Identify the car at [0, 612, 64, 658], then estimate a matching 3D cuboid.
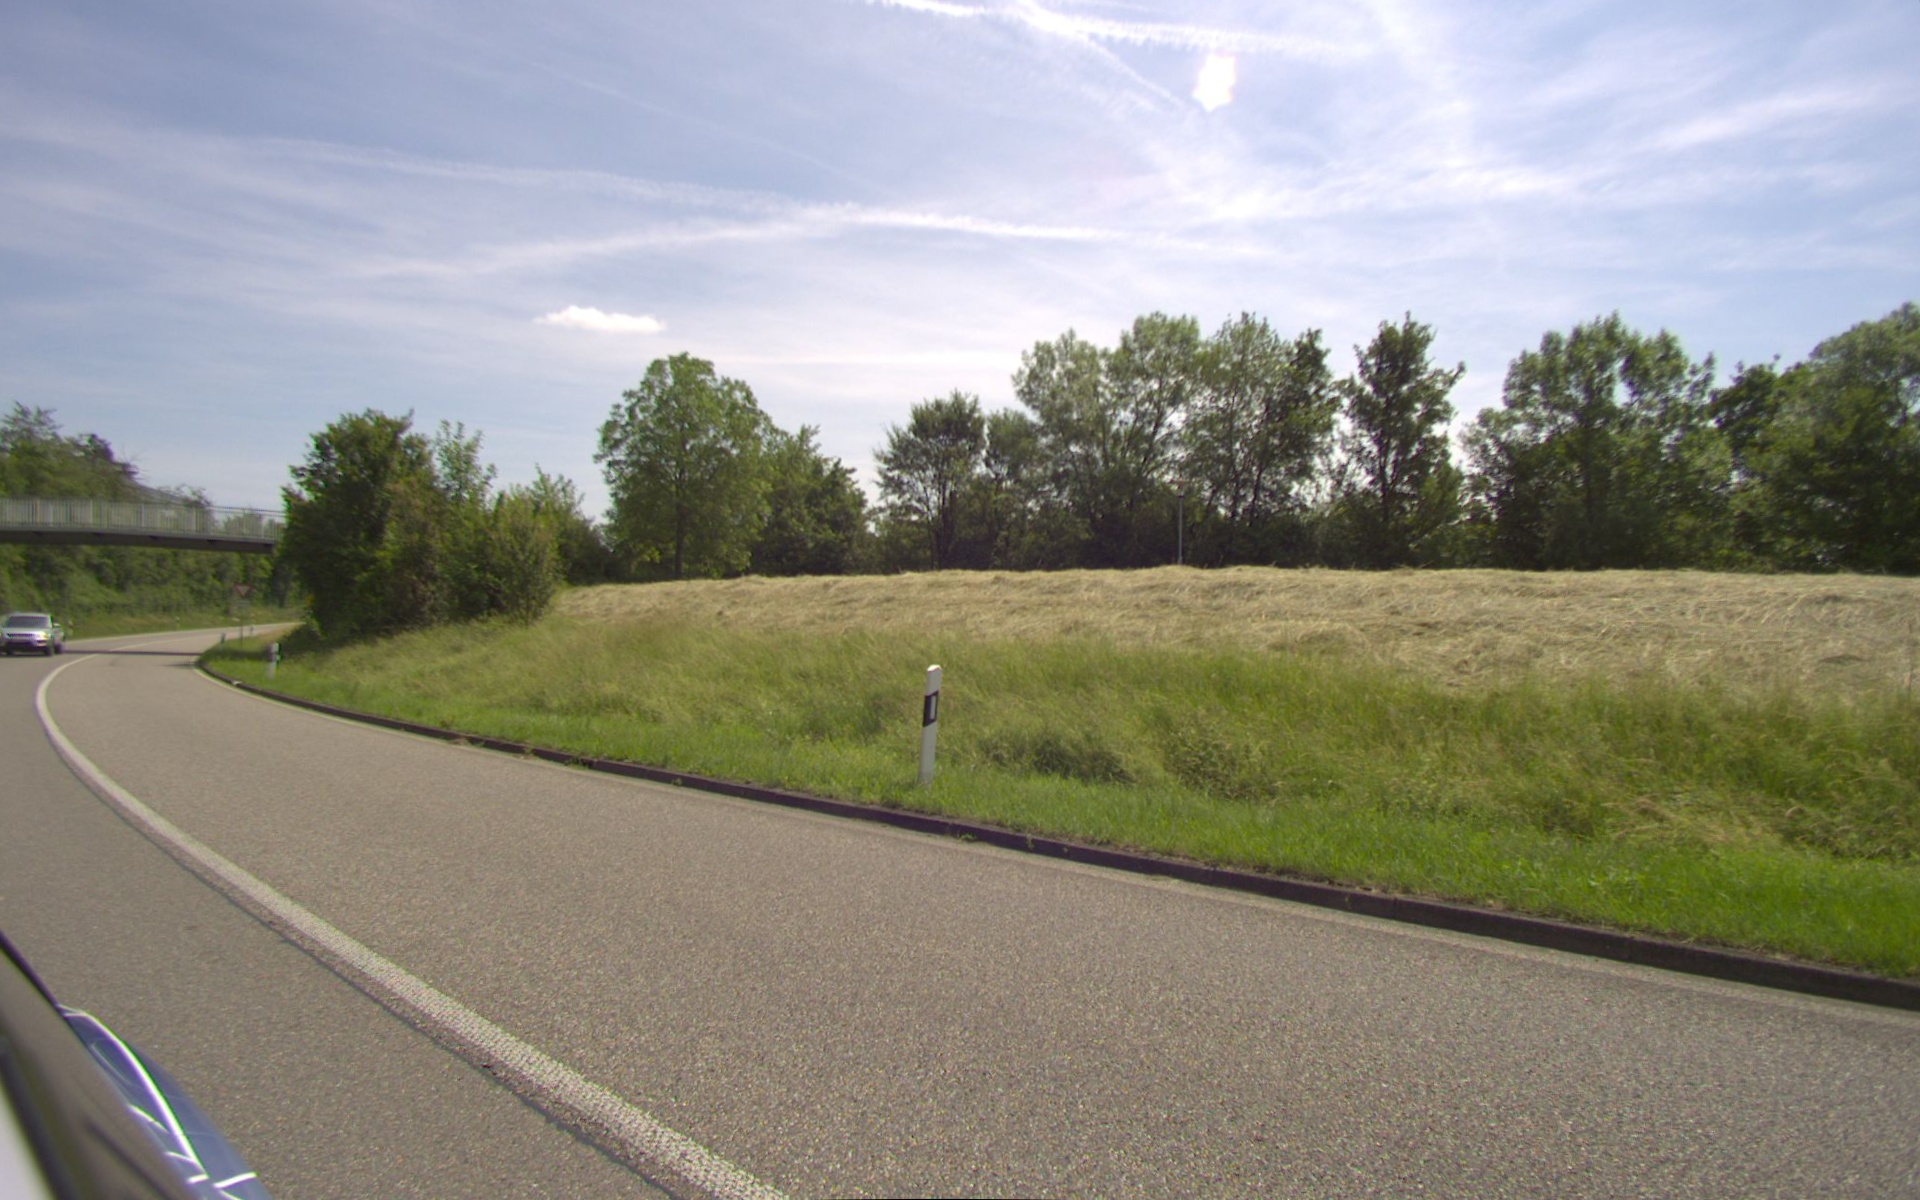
[{"bbox_3d":[-37.101,1.363,40.226,1.820,1.721,4.098,1,-1,-36],"label":"car"}]
